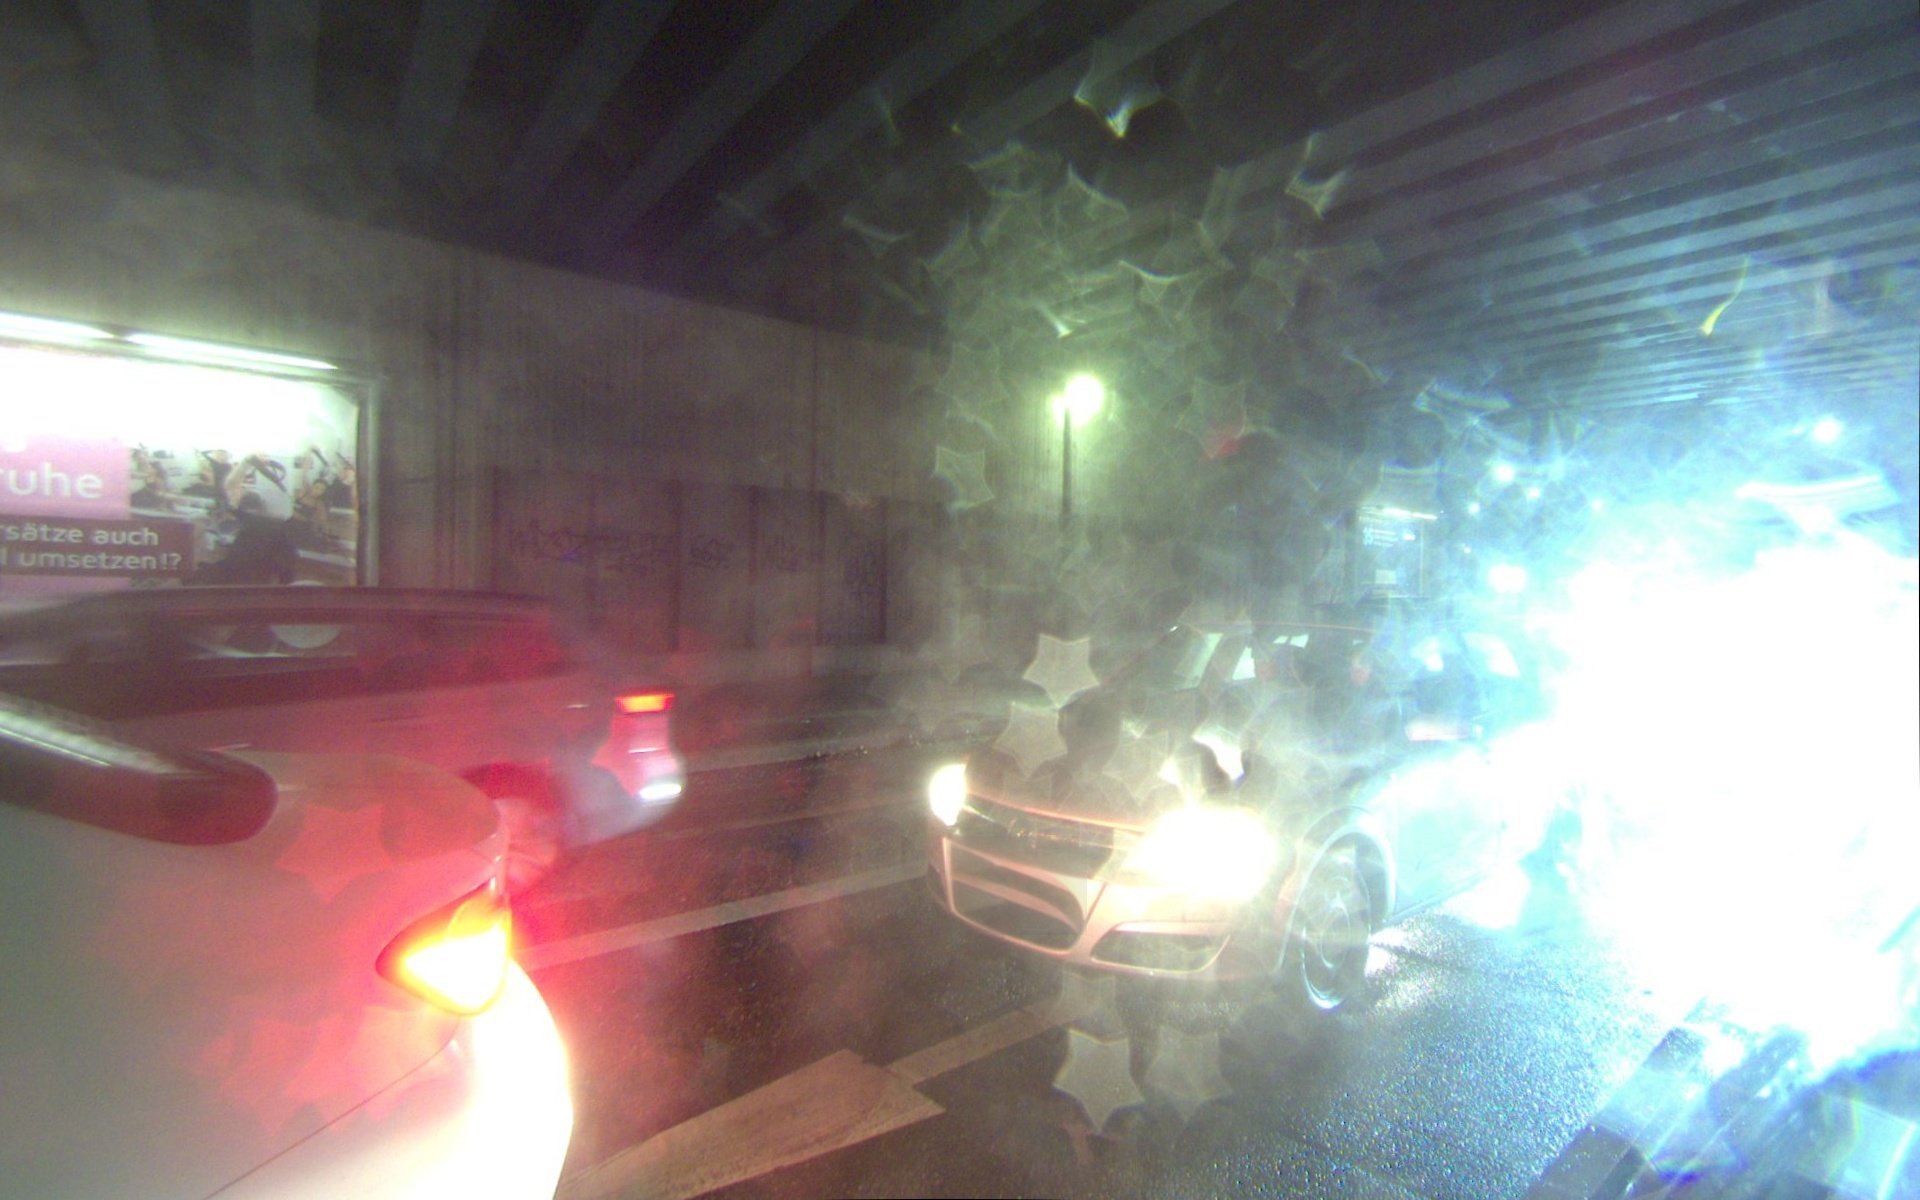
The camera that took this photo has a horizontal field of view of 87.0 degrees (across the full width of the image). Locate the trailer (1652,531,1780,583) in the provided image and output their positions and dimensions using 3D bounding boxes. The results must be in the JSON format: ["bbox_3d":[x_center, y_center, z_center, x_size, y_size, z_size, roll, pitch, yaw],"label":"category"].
[{"bbox_3d":[68.648,-3.723,92.513,3.909,4.229,13.869,0,0,12],"label":"trailer"}]

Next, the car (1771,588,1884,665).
[{"bbox_3d":[18.736,0.495,21.804,1.678,1.490,3.938,0,0,43],"label":"car"}]

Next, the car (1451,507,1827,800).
[{"bbox_3d":[6.493,0.359,9.485,4.274,2.115,1.996,-1,0,-43],"label":"car"}]

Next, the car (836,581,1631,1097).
[{"bbox_3d":[1.549,0.642,4.829,3.931,1.384,1.791,-2,2,-41],"label":"car"}]

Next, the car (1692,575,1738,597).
[{"bbox_3d":[52.212,-1.000,70.059,1.837,1.449,4.460,0,2,28],"label":"car"}]

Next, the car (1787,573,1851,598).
[{"bbox_3d":[63.011,-1.029,74.349,1.946,1.763,4.886,0,0,20],"label":"car"}]

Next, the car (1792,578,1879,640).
[{"bbox_3d":[24.572,0.212,28.360,1.737,1.610,3.939,0,0,42],"label":"car"}]

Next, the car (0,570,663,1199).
[{"bbox_3d":[-2.677,0.686,0.994,4.273,1.422,1.719,-1,0,-41],"label":"car"}]

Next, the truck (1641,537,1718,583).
[{"bbox_3d":[69.867,-3.785,98.457,3.909,4.229,6.353,0,0,13],"label":"truck"}]

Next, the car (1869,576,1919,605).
[{"bbox_3d":[58.969,-0.604,63.205,1.888,1.763,4.364,0,0,23],"label":"car"}]

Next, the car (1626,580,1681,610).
[{"bbox_3d":[36.215,-0.290,52.938,1.865,1.490,3.961,0,0,28],"label":"car"}]

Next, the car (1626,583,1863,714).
[{"bbox_3d":[10.757,0.549,13.808,3.701,1.531,1.867,-1,0,-41],"label":"car"}]

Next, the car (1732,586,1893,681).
[{"bbox_3d":[15.353,0.514,18.158,3.930,1.522,1.628,-1,0,-41],"label":"car"}]

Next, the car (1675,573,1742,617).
[{"bbox_3d":[26.990,-0.231,36.562,1.843,1.449,4.445,0,2,36],"label":"car"}]

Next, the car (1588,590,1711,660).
[{"bbox_3d":[17.035,0.534,24.909,1.848,1.449,4.433,0,2,43],"label":"car"}]

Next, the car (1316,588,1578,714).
[{"bbox_3d":[6.934,0.597,14.188,4.426,1.474,1.850,0,1,-43],"label":"car"}]

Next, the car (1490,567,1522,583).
[{"bbox_3d":[63.125,-2.827,117.070,1.942,1.763,4.898,0,0,13],"label":"car"}]

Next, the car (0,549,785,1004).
[{"bbox_3d":[-3.231,0.568,4.543,4.551,1.503,1.850,1,1,-43],"label":"car"}]

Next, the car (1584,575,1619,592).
[{"bbox_3d":[59.149,-1.525,93.339,1.859,1.490,3.974,0,0,20],"label":"car"}]
